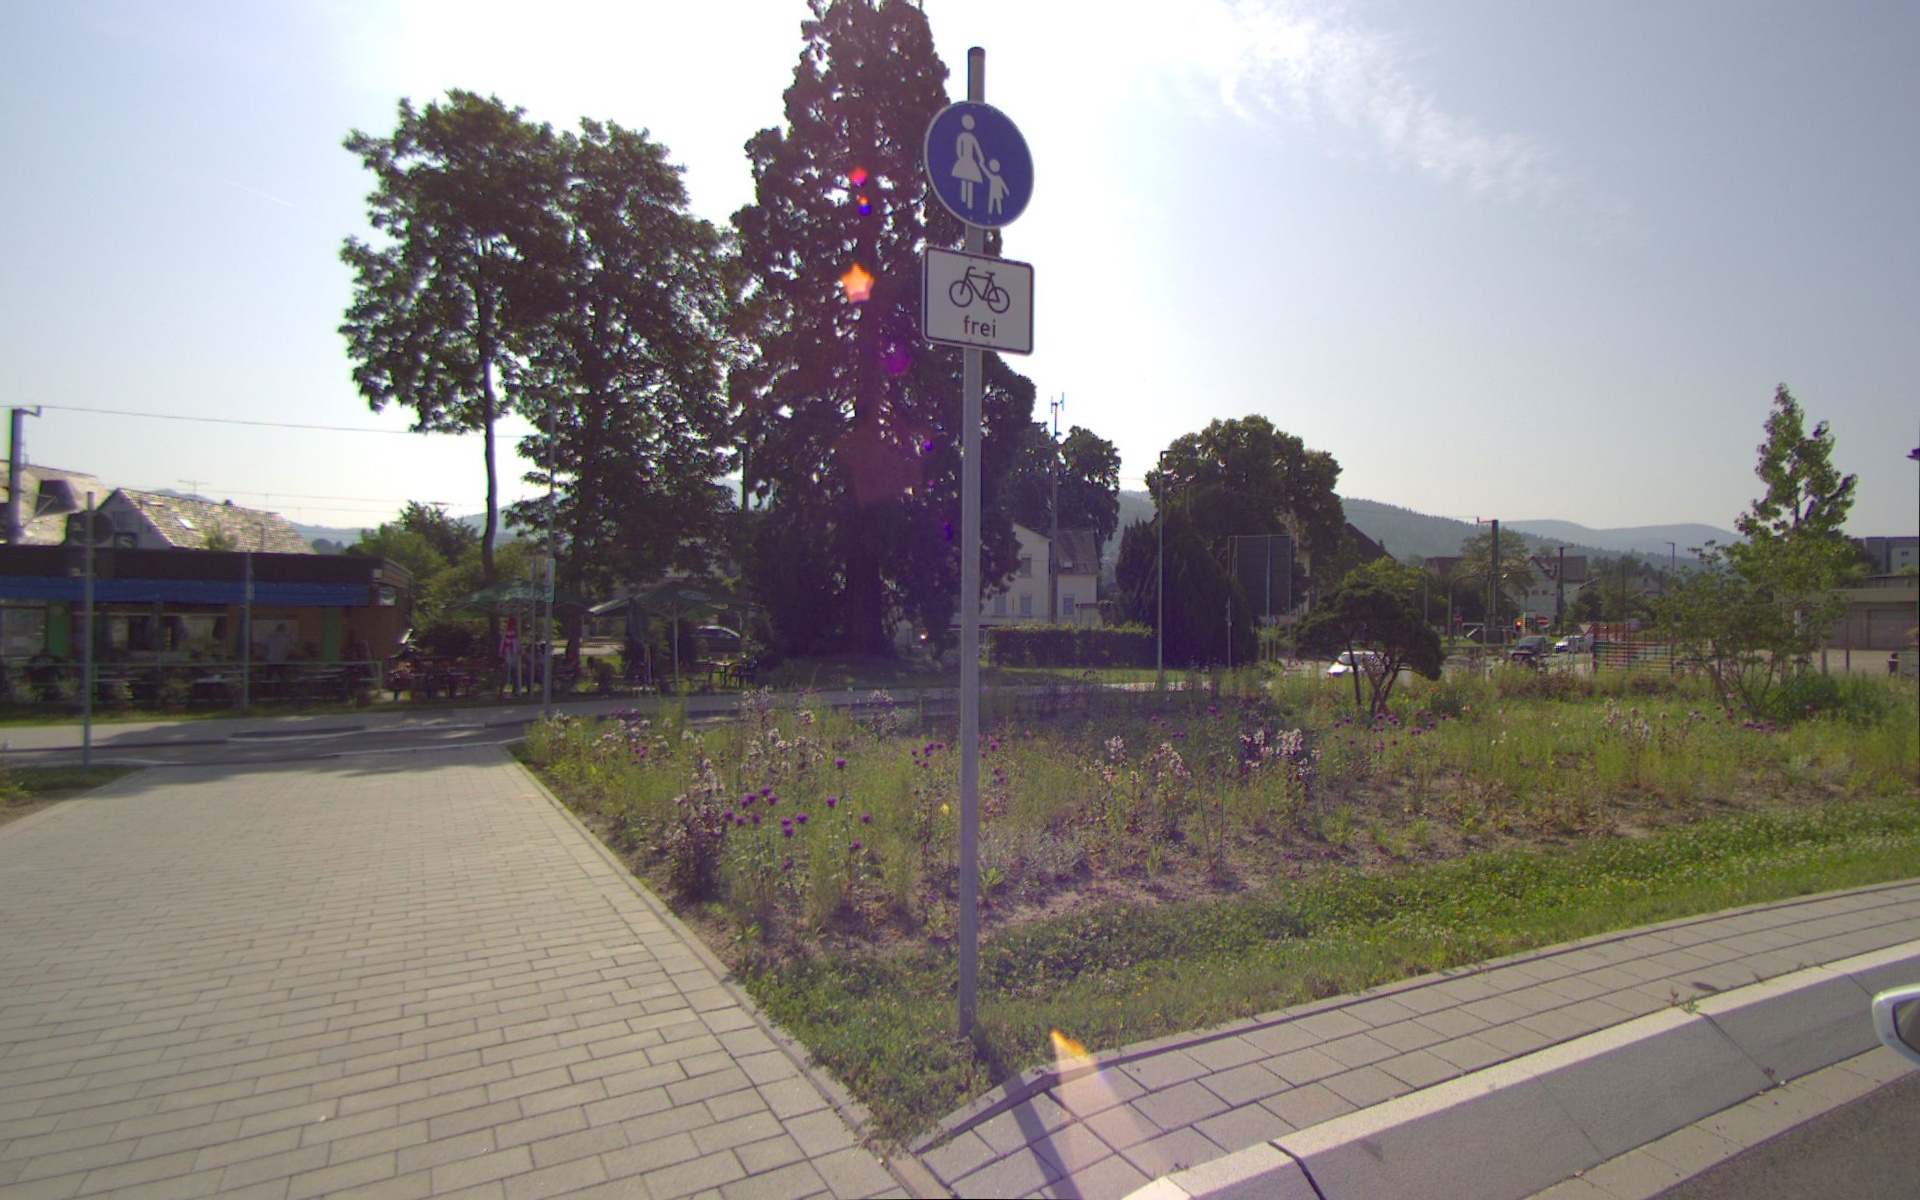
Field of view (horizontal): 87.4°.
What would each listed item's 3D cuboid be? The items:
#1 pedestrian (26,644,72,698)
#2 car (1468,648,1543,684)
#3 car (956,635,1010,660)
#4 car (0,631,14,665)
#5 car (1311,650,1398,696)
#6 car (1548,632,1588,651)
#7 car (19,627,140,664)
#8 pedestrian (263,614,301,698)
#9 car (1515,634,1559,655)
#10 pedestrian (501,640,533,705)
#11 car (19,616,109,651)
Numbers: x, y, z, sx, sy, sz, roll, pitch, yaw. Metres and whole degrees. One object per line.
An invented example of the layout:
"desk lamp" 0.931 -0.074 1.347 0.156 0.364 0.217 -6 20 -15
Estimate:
"pedestrian" -20.775 1.606 22.905 0.673 1.179 0.554 0 1 -31
"car" 27.384 3.277 50.551 1.680 1.416 4.000 1 1 2
"car" 1.612 3.275 70.123 3.582 1.515 1.606 2 1 -5
"car" -36.032 1.746 35.338 3.683 1.193 1.422 0 1 -20
"car" 14.359 2.597 36.458 1.651 1.551 3.978 -2 -3 42
"car" 49.783 3.381 82.206 3.969 1.416 1.693 0 1 -41
"car" -42.382 2.177 48.438 3.931 1.640 1.778 0 1 -13
"pedestrian" -17.222 1.402 25.514 0.704 2.041 0.848 0 2 -42
"car" 44.049 3.357 76.693 3.969 1.416 1.693 0 1 -41
"pedestrian" -11.499 1.877 26.079 0.564 1.611 0.642 0 2 -42
"car" -50.455 1.861 56.671 1.804 1.751 3.994 1 1 -7
